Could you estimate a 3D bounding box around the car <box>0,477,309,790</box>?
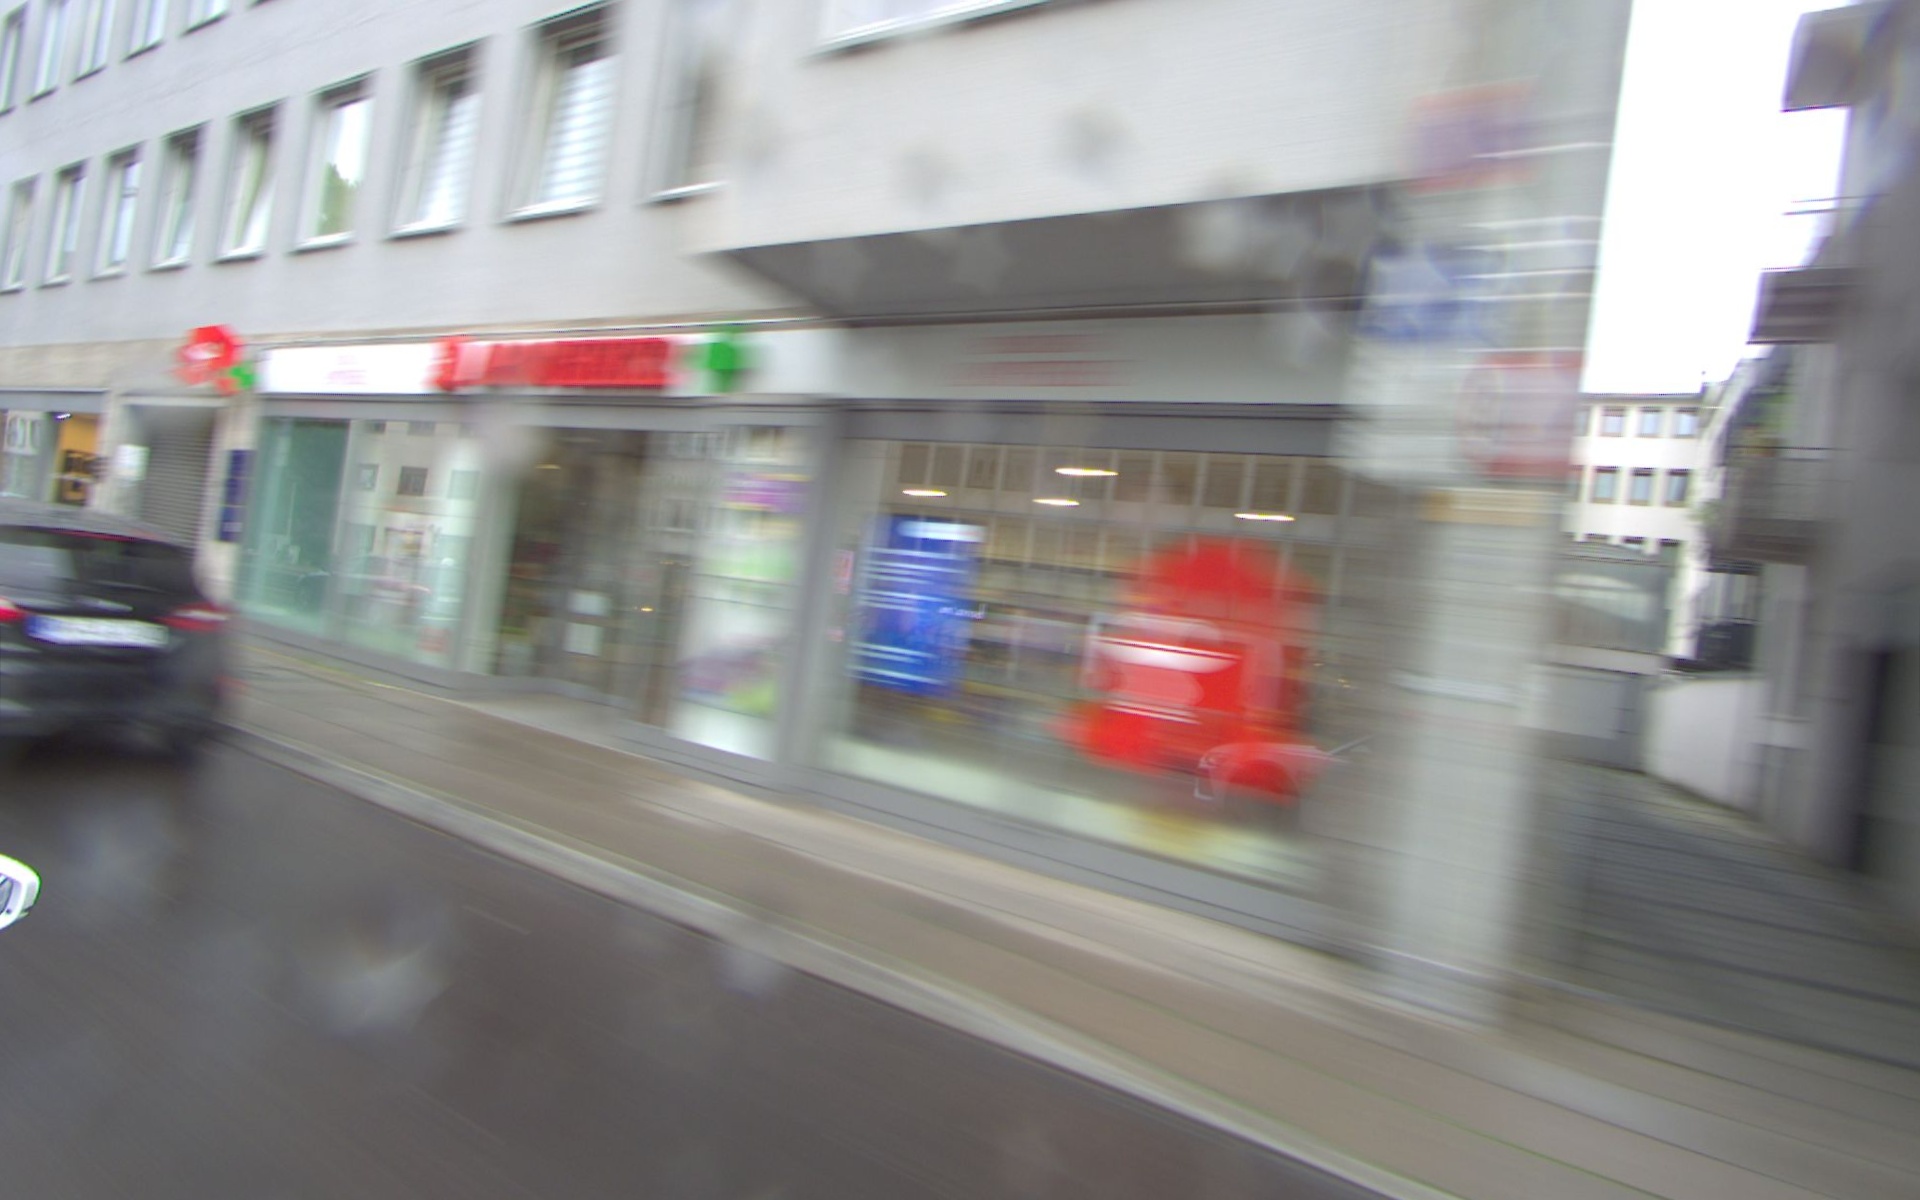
[{"bbox_3d":[-6.497,0.022,6.632,4.201,1.612,1.997,6,-2,32],"label":"car"}]
